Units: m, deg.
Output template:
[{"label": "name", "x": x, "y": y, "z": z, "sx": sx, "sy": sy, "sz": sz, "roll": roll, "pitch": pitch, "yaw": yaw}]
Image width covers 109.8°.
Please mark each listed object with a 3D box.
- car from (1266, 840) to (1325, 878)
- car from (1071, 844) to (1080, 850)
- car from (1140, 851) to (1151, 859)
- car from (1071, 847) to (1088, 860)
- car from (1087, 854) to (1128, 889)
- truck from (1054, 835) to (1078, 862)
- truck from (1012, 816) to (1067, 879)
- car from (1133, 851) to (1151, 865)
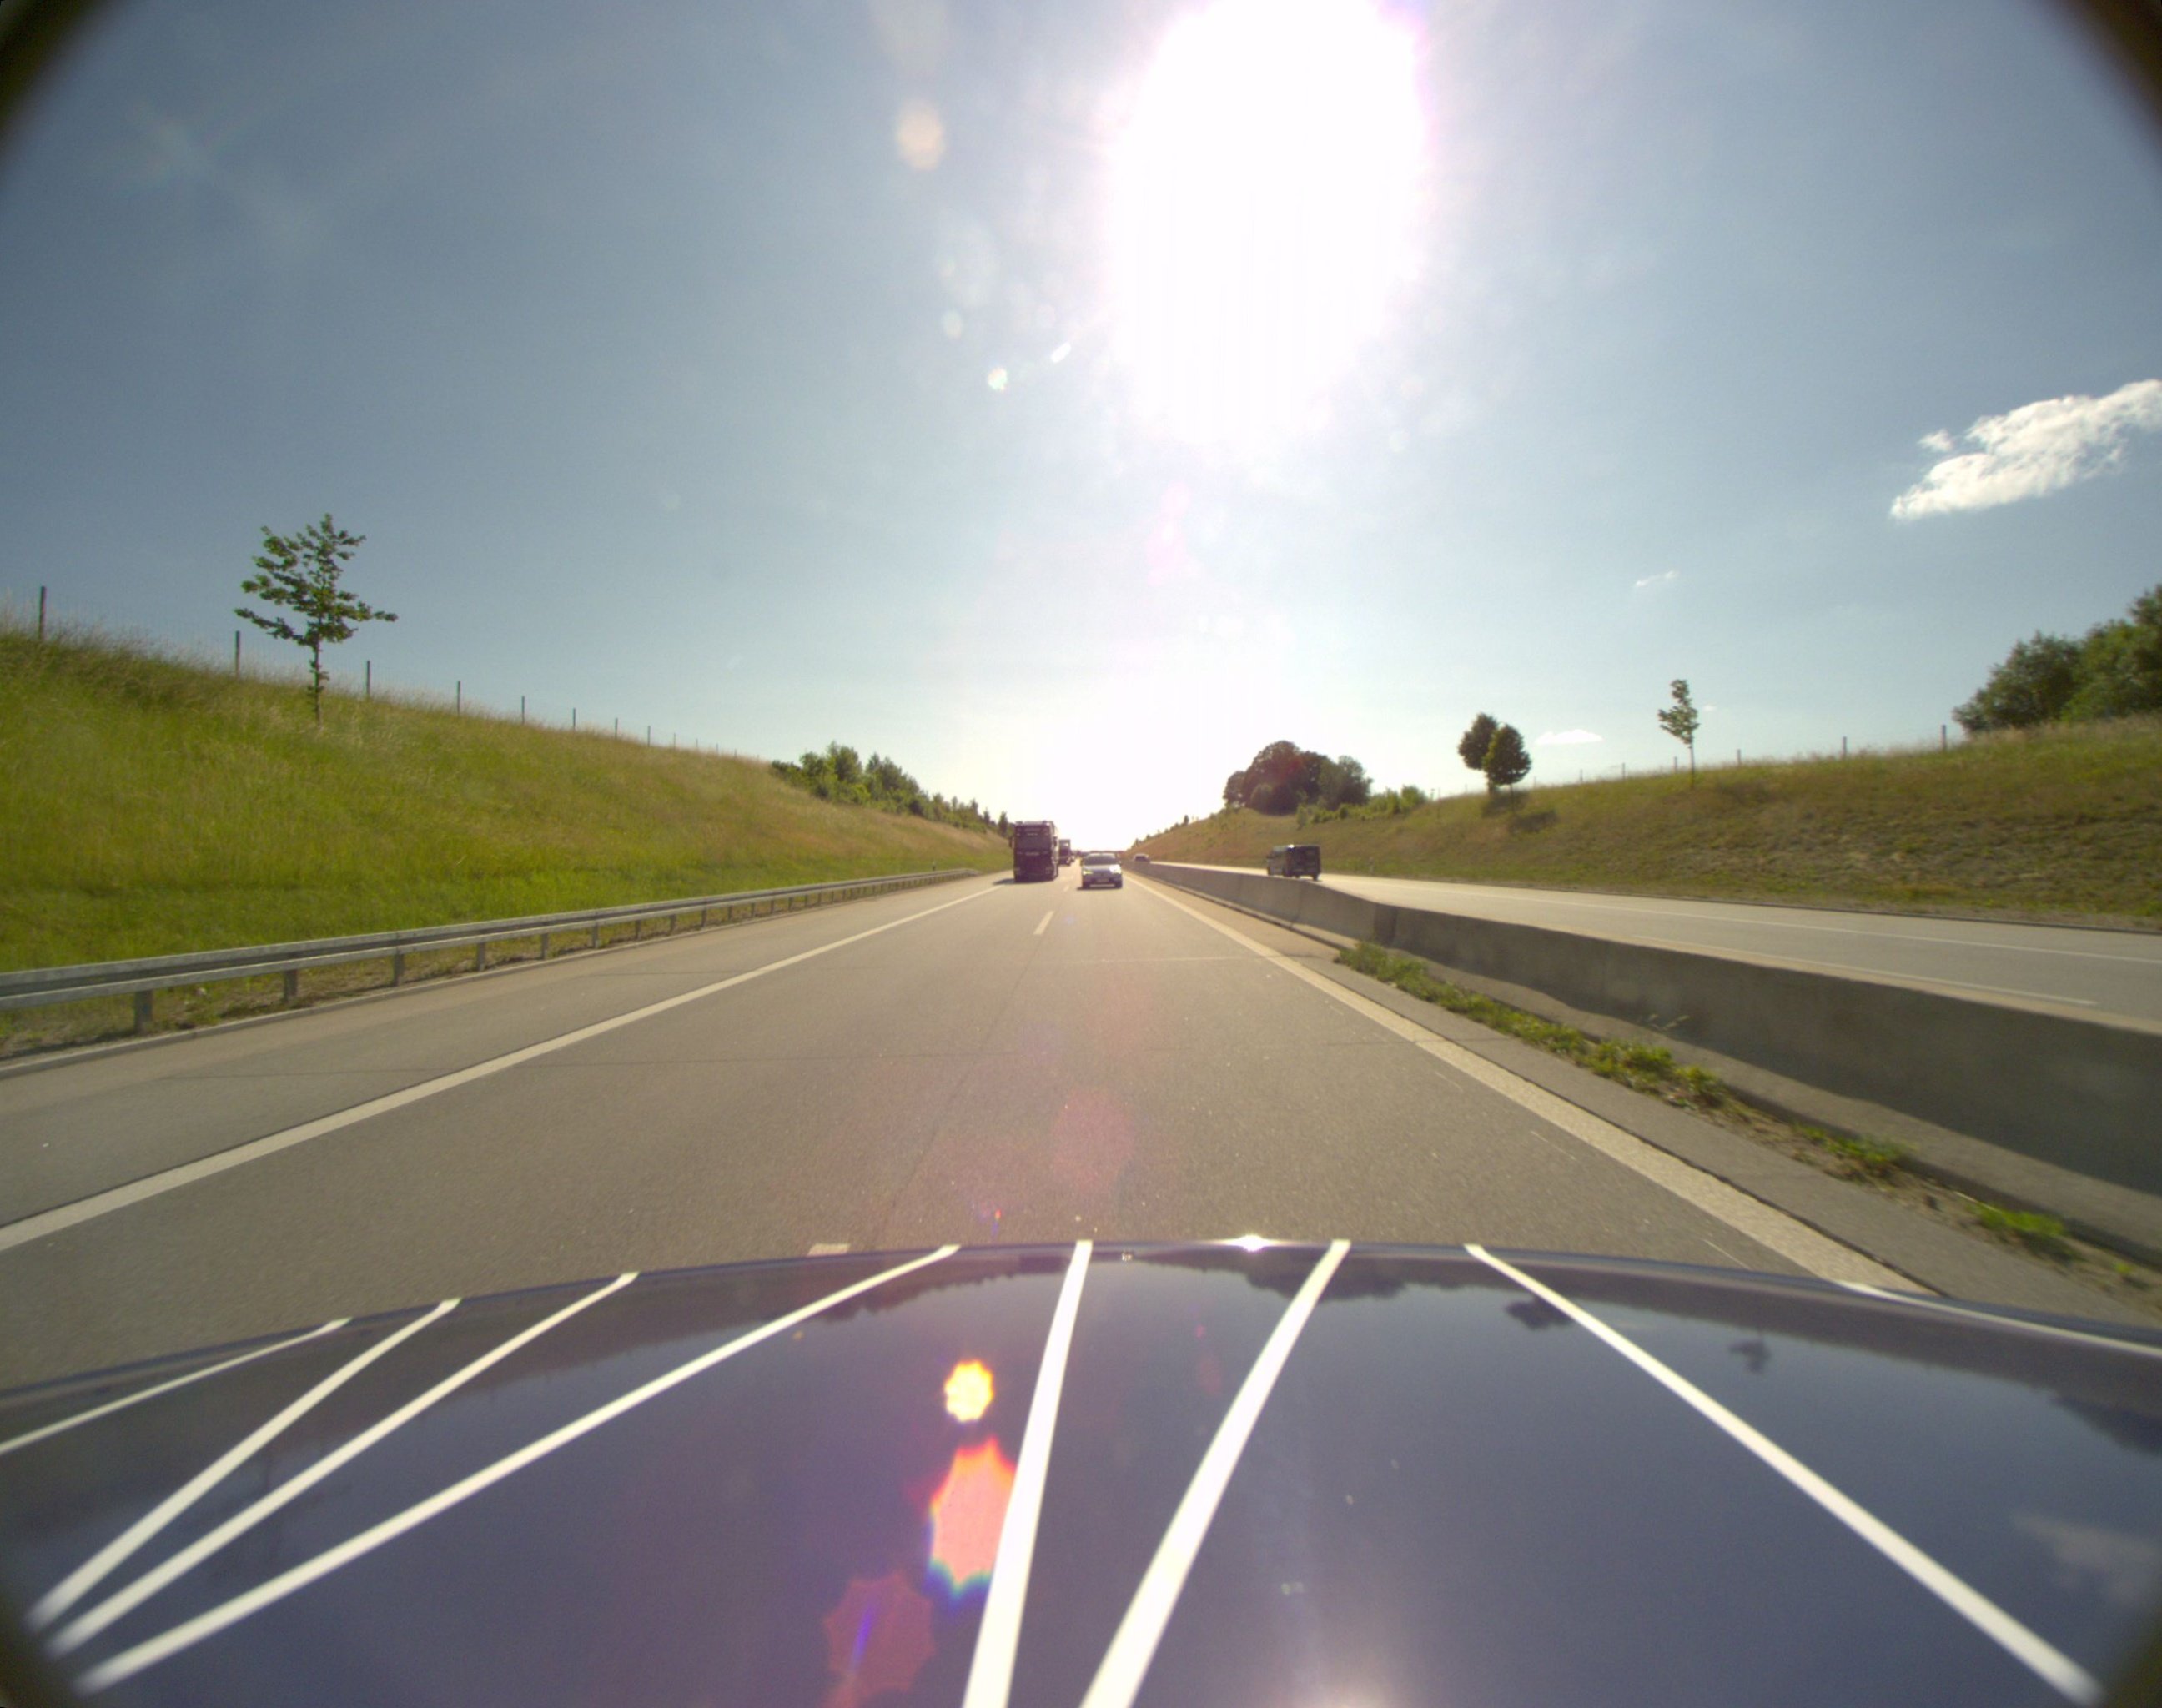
[{"label": "car", "x": 12.230, "y": 0.278, "z": 43.654, "sx": 1.998, "sy": 2.002, "sz": 4.970, "roll": -2, "pitch": 0, "yaw": 1}, {"label": "car", "x": -1.273, "y": -1.593, "z": 170.877, "sx": 1.708, "sy": 1.433, "sz": 3.633, "roll": 1, "pitch": 0, "yaw": -4}, {"label": "car", "x": 12.023, "y": 0.151, "z": 142.019, "sx": 1.808, "sy": 1.462, "sz": 4.527, "roll": -1, "pitch": 0, "yaw": 1}, {"label": "car", "x": -0.242, "y": -0.058, "z": 132.316, "sx": 2.816, "sy": 2.143, "sz": 5.946, "roll": 1, "pitch": 0, "yaw": 0}, {"label": "car", "x": 1.276, "y": 0.753, "z": 35.227, "sx": 1.795, "sy": 1.501, "sz": 3.636, "roll": -1, "pitch": 0, "yaw": 3}, {"label": "truck", "x": -2.131, "y": -0.845, "z": 115.503, "sx": 3.025, "sy": 3.795, "sz": 13.403, "roll": 1, "pitch": 0, "yaw": 1}, {"label": "truck", "x": -2.652, "y": -0.414, "z": 52.984, "sx": 2.623, "sy": 3.795, "sz": 13.404, "roll": -1, "pitch": 0, "yaw": 2}, {"label": "car", "x": 8.218, "y": 0.532, "z": 102.462, "sx": 1.936, "sy": 1.722, "sz": 4.886, "roll": -2, "pitch": 0, "yaw": 1}]
